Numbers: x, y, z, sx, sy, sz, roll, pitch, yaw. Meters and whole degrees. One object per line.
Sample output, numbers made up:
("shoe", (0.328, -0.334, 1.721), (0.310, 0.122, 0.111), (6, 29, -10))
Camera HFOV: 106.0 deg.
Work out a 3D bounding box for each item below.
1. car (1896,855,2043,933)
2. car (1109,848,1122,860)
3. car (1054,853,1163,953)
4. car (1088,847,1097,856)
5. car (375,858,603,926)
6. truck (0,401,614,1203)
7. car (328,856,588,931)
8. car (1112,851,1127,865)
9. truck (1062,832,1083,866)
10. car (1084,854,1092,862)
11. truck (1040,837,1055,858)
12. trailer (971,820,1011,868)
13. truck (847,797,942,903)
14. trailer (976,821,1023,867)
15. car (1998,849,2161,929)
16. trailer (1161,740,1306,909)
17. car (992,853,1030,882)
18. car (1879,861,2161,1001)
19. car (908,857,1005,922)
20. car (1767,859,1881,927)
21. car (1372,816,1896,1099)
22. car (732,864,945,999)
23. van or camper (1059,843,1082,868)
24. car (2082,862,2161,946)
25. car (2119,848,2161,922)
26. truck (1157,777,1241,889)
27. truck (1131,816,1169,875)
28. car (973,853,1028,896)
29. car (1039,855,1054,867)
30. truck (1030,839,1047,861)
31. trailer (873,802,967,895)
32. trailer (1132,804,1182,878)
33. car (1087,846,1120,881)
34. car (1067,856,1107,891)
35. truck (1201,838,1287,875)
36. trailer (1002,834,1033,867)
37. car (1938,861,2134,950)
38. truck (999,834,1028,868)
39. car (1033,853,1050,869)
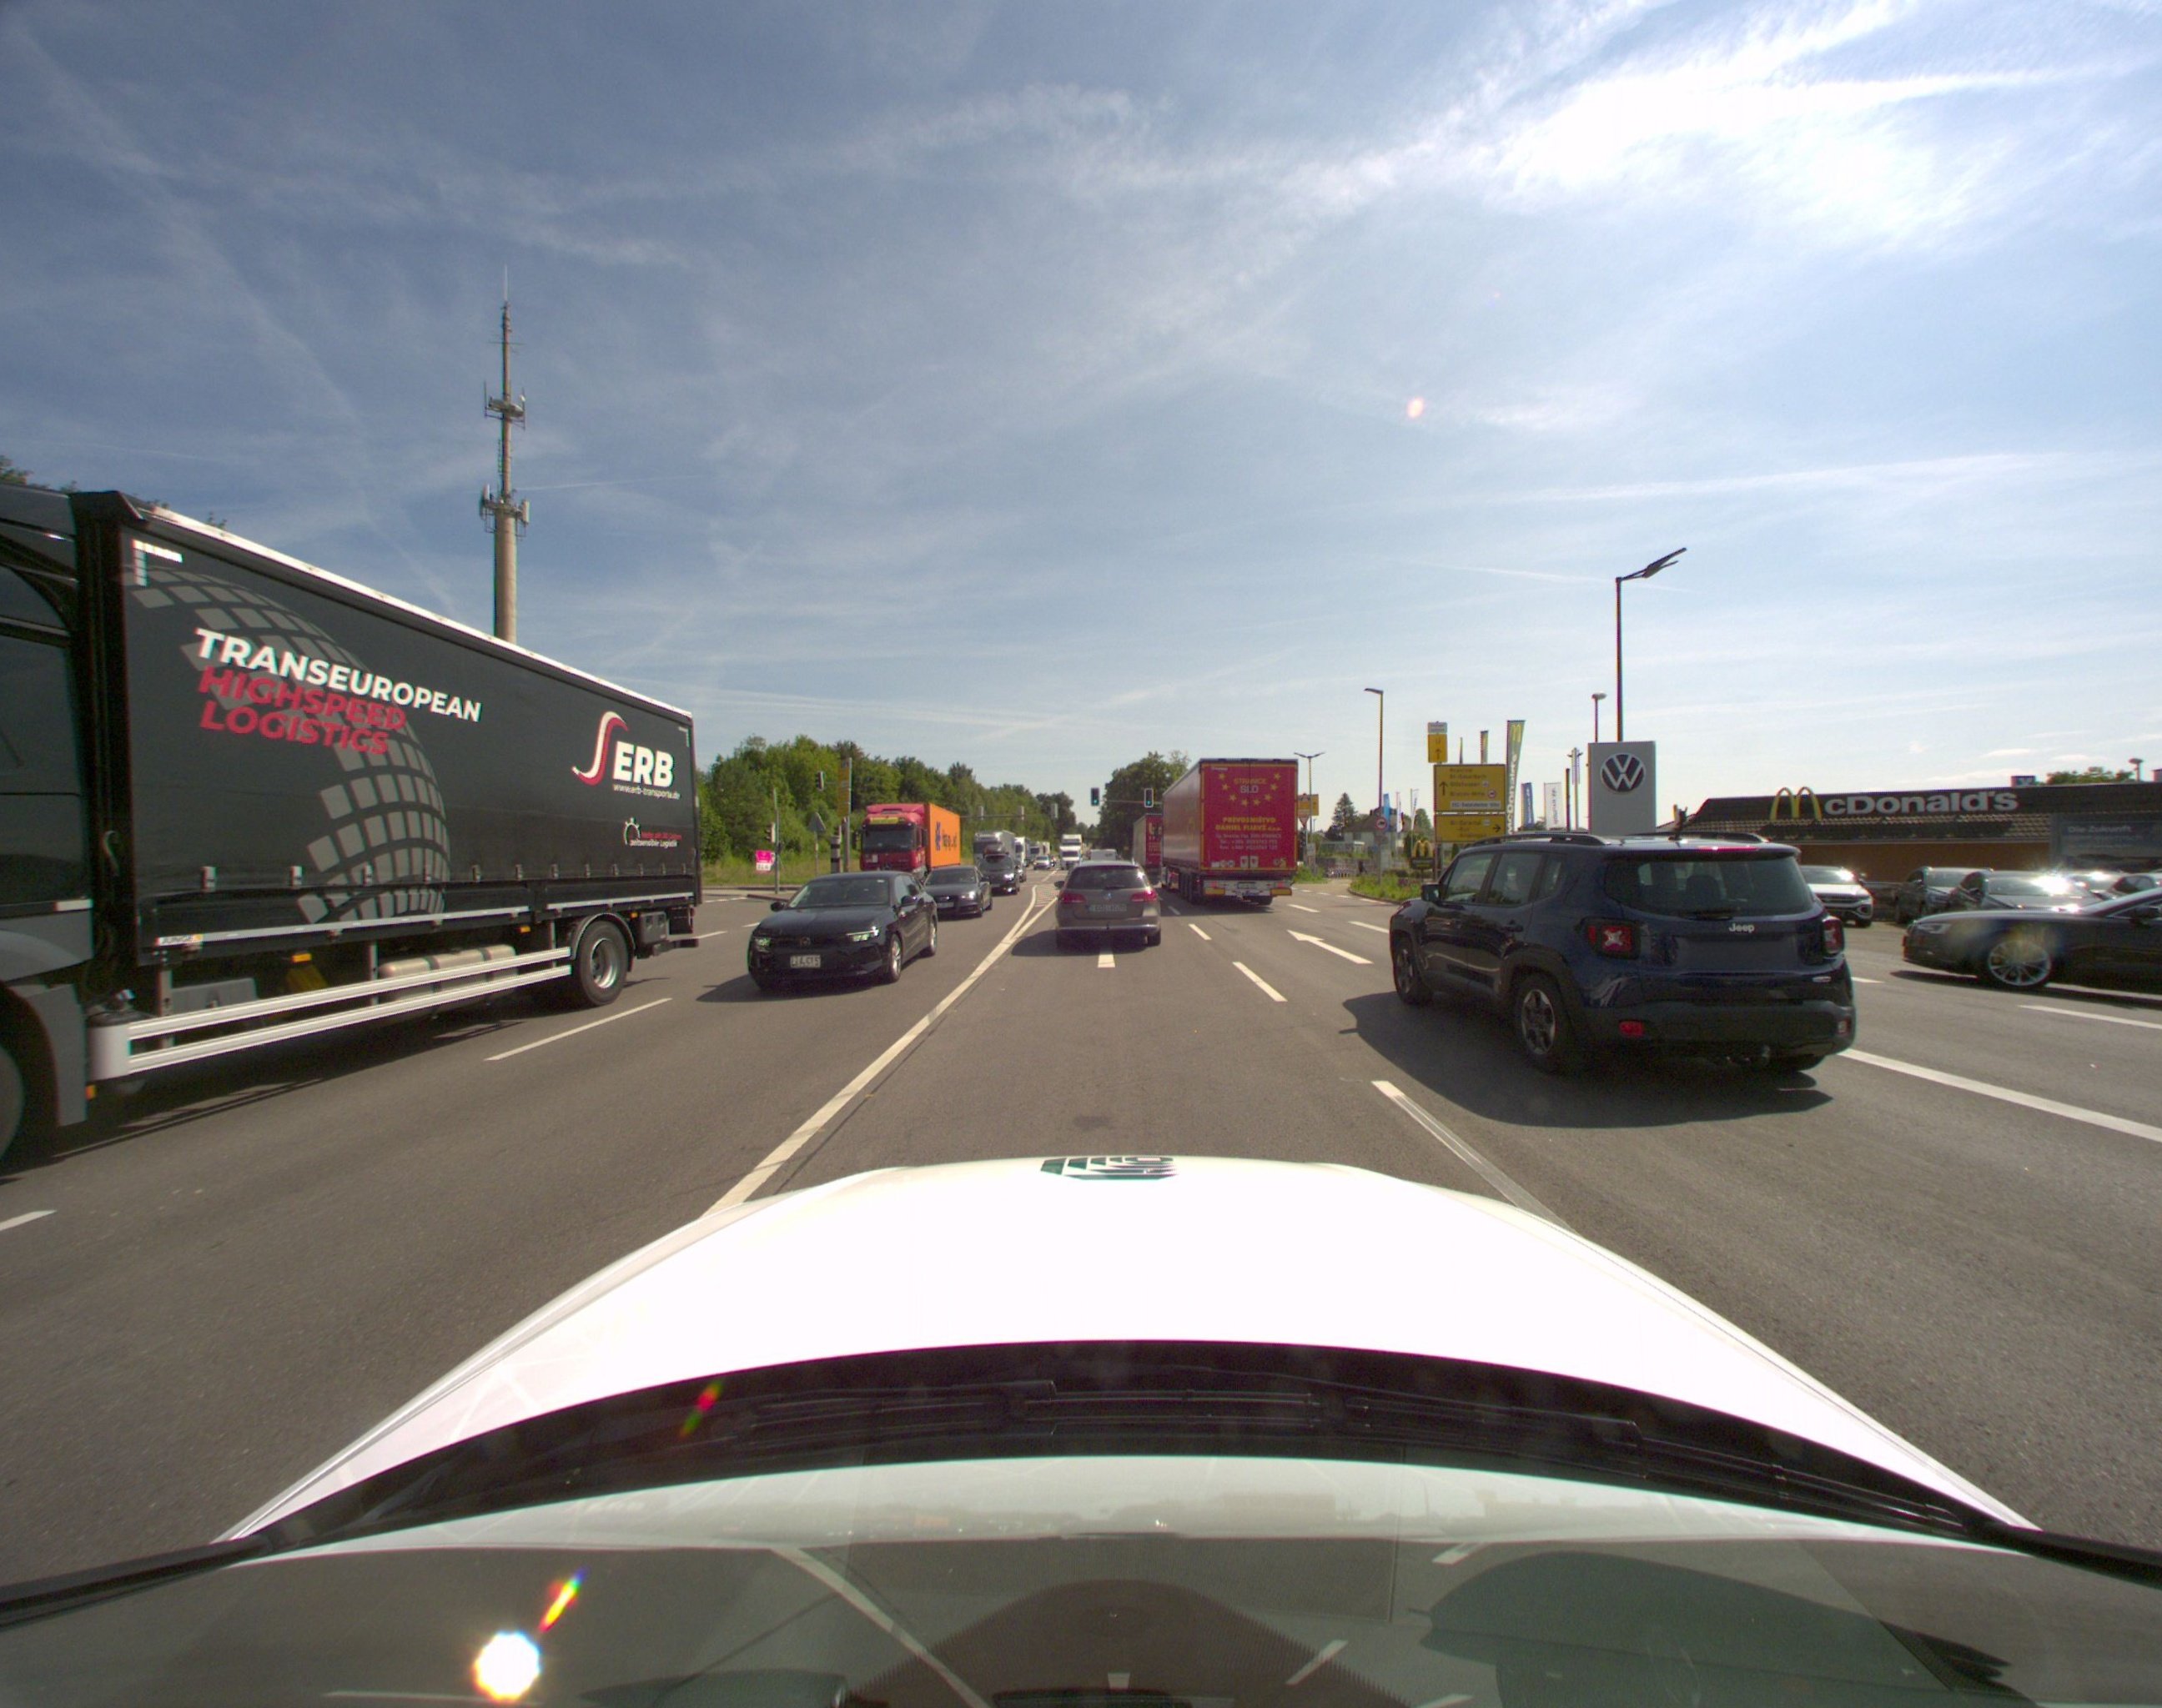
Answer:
("car", (21.914, 0.911, 20.264), (1.753, 1.671, 3.935), (-2, 0, 37))
("car", (6.085, 0.058, 143.983), (1.987, 2.013, 3.999), (-1, 0, -1))
("car", (0.411, 0.768, 14.747), (1.686, 1.513, 3.998), (-1, 0, -1))
("car", (2.455, -0.508, 174.102), (1.987, 2.013, 3.999), (-1, 0, -1))
("car", (-15.927, 1.001, 22.090), (4.767, 1.626, 1.867), (3, -1, -42))
("truck", (-6.740, -0.242, 4.421), (2.703, 3.998, 9.971), (-1, 0, -1))
("car", (-15.015, 0.941, 19.890), (4.821, 1.626, 1.909), (3, -2, -40))
("car", (5.577, 0.615, 118.375), (1.987, 2.013, 3.999), (-1, 0, -1))
("truck", (-1.102, -0.566, 102.634), (2.530, 4.088, 6.262), (-1, 0, -1))
("car", (1.793, 0.947, 208.972), (1.987, 2.013, 3.999), (-1, 0, -1))
("truck", (-6.933, -1.349, 171.559), (2.821, 4.116, 9.677), (-1, 0, -1))
("trailer", (-8.017, -0.866, 73.121), (2.635, 4.105, 6.183), (-1, 0, 2))
("truck", (-7.622, -0.142, 34.072), (2.714, 3.998, 6.052), (-1, 0, -2))
("trailer", (-7.776, -0.893, 80.003), (2.681, 4.147, 13.886), (-1, 0, 2))
("car", (23.799, 0.758, 19.414), (1.753, 1.671, 4.197), (-2, 0, 37))
("trailer", (4.614, -0.756, 27.741), (2.828, 4.365, 13.172), (1, 0, 2))
("car", (-4.329, 0.815, 50.954), (1.915, 1.602, 4.587), (-3, 1, -1))
("car", (11.929, 0.897, 8.706), (1.977, 1.332, 4.758), (5, -1, -44))
("car", (-3.385, 0.899, 23.021), (1.854, 1.524, 4.590), (-2, 0, 2))
("car", (19.912, 0.978, 21.993), (1.837, 1.576, 4.260), (-2, 0, 37))
("car", (4.016, 0.622, 6.871), (1.764, 1.654, 4.001), (-1, 0, 2))
("car", (-3.205, 0.929, 11.729), (1.706, 1.443, 4.377), (-3, 0, 0))
("van or camper", (-1.075, 0.169, 89.048), (2.323, 2.600, 6.978), (-1, 0, 0))
("car", (21.505, 0.920, 15.726), (1.773, 1.450, 4.181), (-2, 0, 37))
("car", (25.590, 0.712, 18.112), (1.888, 1.671, 4.849), (-2, 0, 37))
("truck", (4.820, -0.804, 34.372), (2.859, 4.281, 5.842), (1, 0, 2))
("truck", (5.053, -0.581, 60.472), (2.397, 4.127, 5.523), (-1, 0, 1))
("car", (-3.386, 0.822, 34.995), (1.903, 1.602, 4.587), (-3, 1, -1))
("car", (-4.773, 0.963, 111.252), (1.989, 1.485, 4.449), (-1, 0, -3))
("truck", (-7.990, -0.716, 152.892), (2.721, 3.999, 9.616), (-1, 0, -1))
("trailer", (-7.872, -0.236, 41.647), (2.714, 3.998, 12.224), (-1, 0, -2))
("trailer", (4.819, -0.740, 53.751), (2.386, 4.243, 13.082), (-1, 0, 2))
("car", (1.332, 0.547, 49.007), (1.765, 1.936, 3.976), (-1, 0, -1))
("car", (0.250, 0.870, 38.589), (1.765, 1.513, 3.998), (-1, 0, -1))
("truck", (19.260, 0.355, 95.977), (9.692, 3.628, 2.751), (4, -2, -17))
("trailer", (-8.538, -0.408, 111.228), (3.084, 4.079, 14.122), (-1, 0, -1))
("car", (19.478, 0.956, 16.831), (1.753, 1.532, 4.116), (-2, 0, 37))
("truck", (-8.538, -0.374, 104.105), (3.178, 4.079, 6.343), (-1, 0, -1))
("car", (-4.553, 0.827, 94.224), (1.837, 1.732, 4.587), (0, 0, -1))
